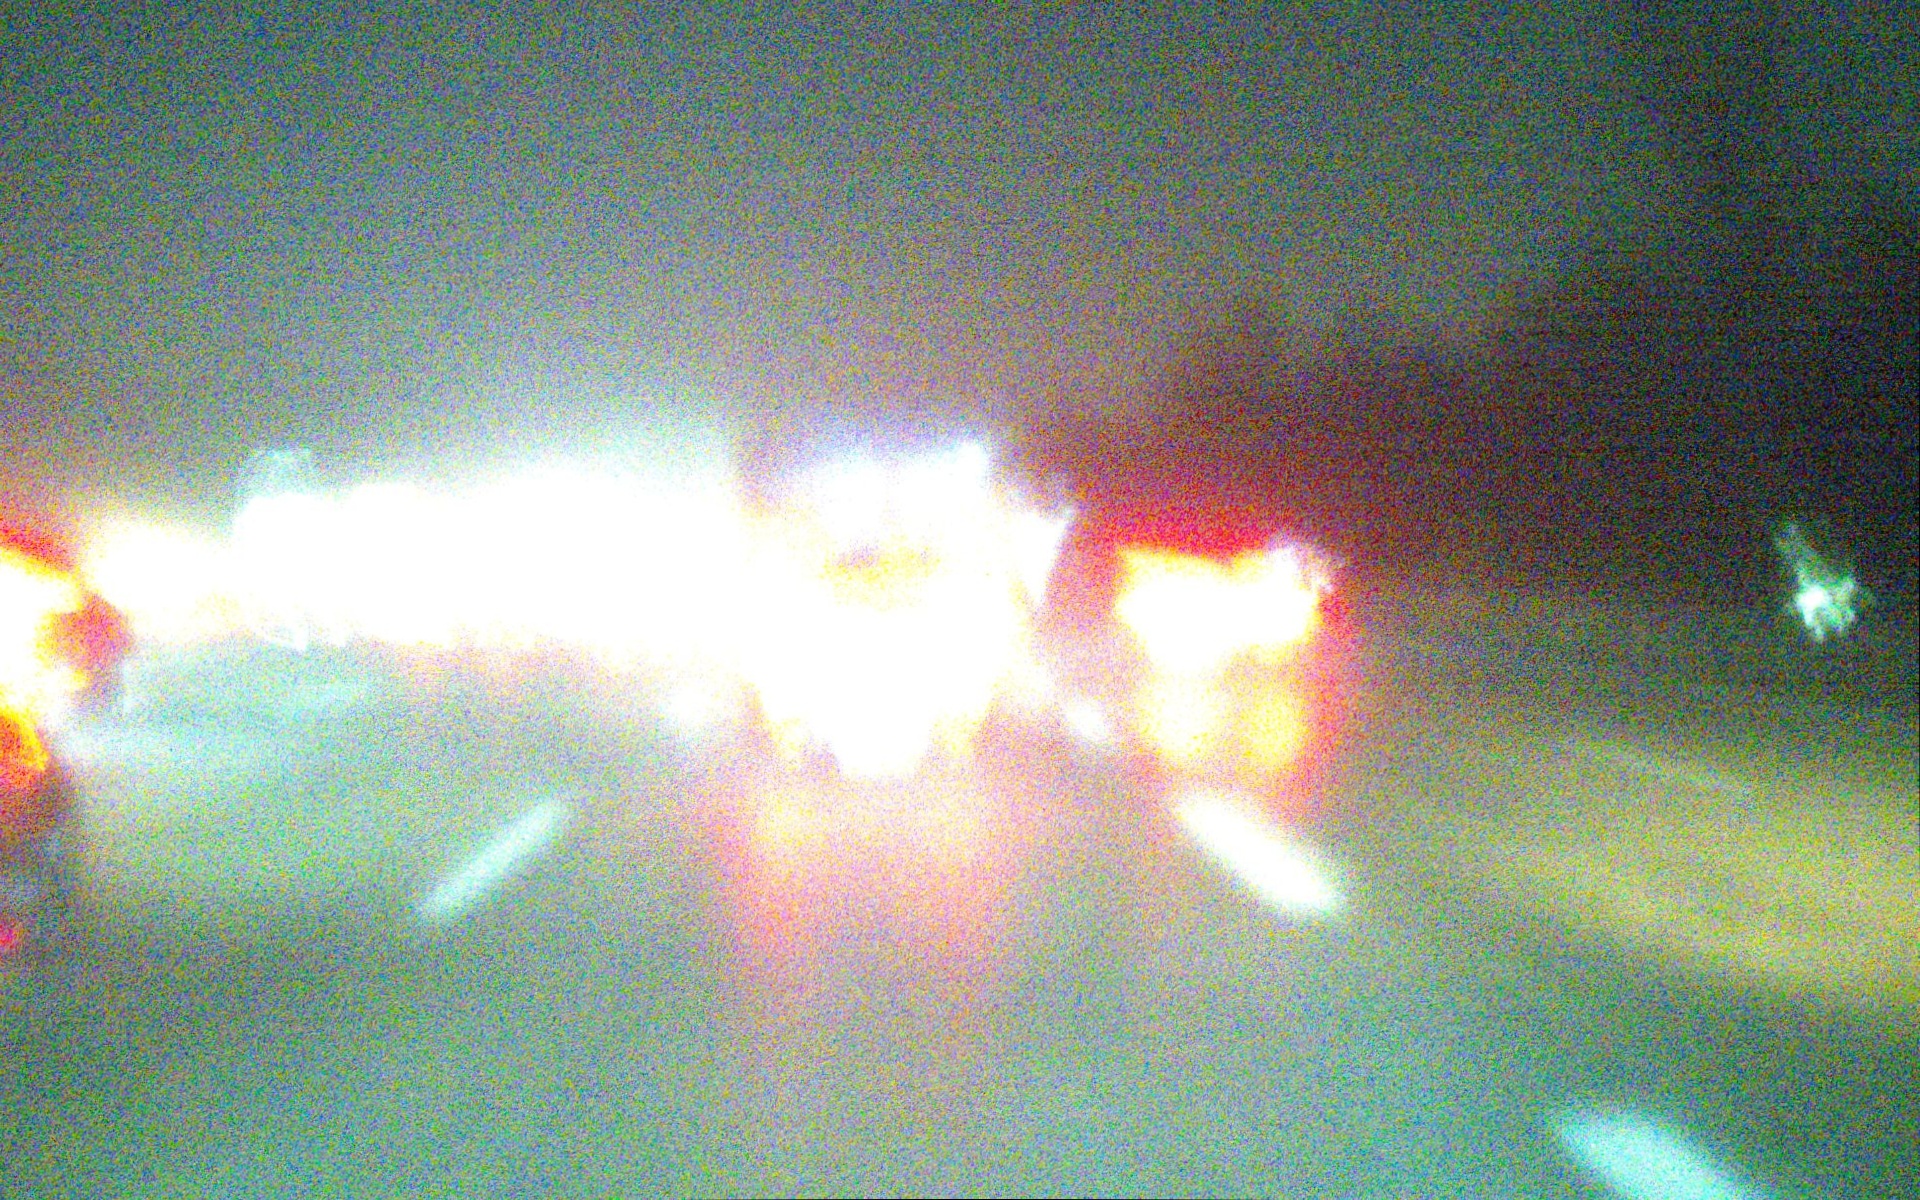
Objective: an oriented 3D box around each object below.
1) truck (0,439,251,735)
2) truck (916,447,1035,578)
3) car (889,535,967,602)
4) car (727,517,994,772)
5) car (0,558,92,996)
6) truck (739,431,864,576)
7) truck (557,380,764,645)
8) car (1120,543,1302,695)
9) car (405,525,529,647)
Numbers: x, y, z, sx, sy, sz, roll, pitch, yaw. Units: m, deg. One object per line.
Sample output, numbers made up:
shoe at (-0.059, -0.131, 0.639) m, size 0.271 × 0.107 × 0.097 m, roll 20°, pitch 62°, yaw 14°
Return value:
truck at (-7.720, -0.126, 28.421) m, size 2.857 × 2.193 × 5.859 m, roll 0°, pitch 0°, yaw -4°
truck at (0.563, -3.528, 142.046) m, size 4.161 × 5.197 × 9.955 m, roll 0°, pitch 0°, yaw -4°
car at (-0.855, -0.836, 90.310) m, size 1.993 × 1.698 × 4.459 m, roll 0°, pitch 0°, yaw -1°
car at (-0.674, 0.249, 24.717) m, size 1.765 × 1.683 × 4.000 m, roll 0°, pitch 1°, yaw 0°
car at (-3.984, 0.601, 11.131) m, size 1.656 × 1.426 × 4.247 m, roll 0°, pitch 1°, yaw -6°
truck at (-6.114, -3.684, 134.729) m, size 4.254 × 5.425 × 10.884 m, roll 0°, pitch 0°, yaw 0°
truck at (-5.815, -1.601, 66.561) m, size 3.655 × 4.721 × 9.854 m, roll 0°, pitch 0°, yaw -5°
car at (3.005, 0.206, 41.875) m, size 1.878 × 1.756 × 4.000 m, roll 0°, pitch 0°, yaw 0°
car at (-9.549, -0.288, 66.840) m, size 2.263 × 2.265 × 5.387 m, roll 0°, pitch 0°, yaw -7°
